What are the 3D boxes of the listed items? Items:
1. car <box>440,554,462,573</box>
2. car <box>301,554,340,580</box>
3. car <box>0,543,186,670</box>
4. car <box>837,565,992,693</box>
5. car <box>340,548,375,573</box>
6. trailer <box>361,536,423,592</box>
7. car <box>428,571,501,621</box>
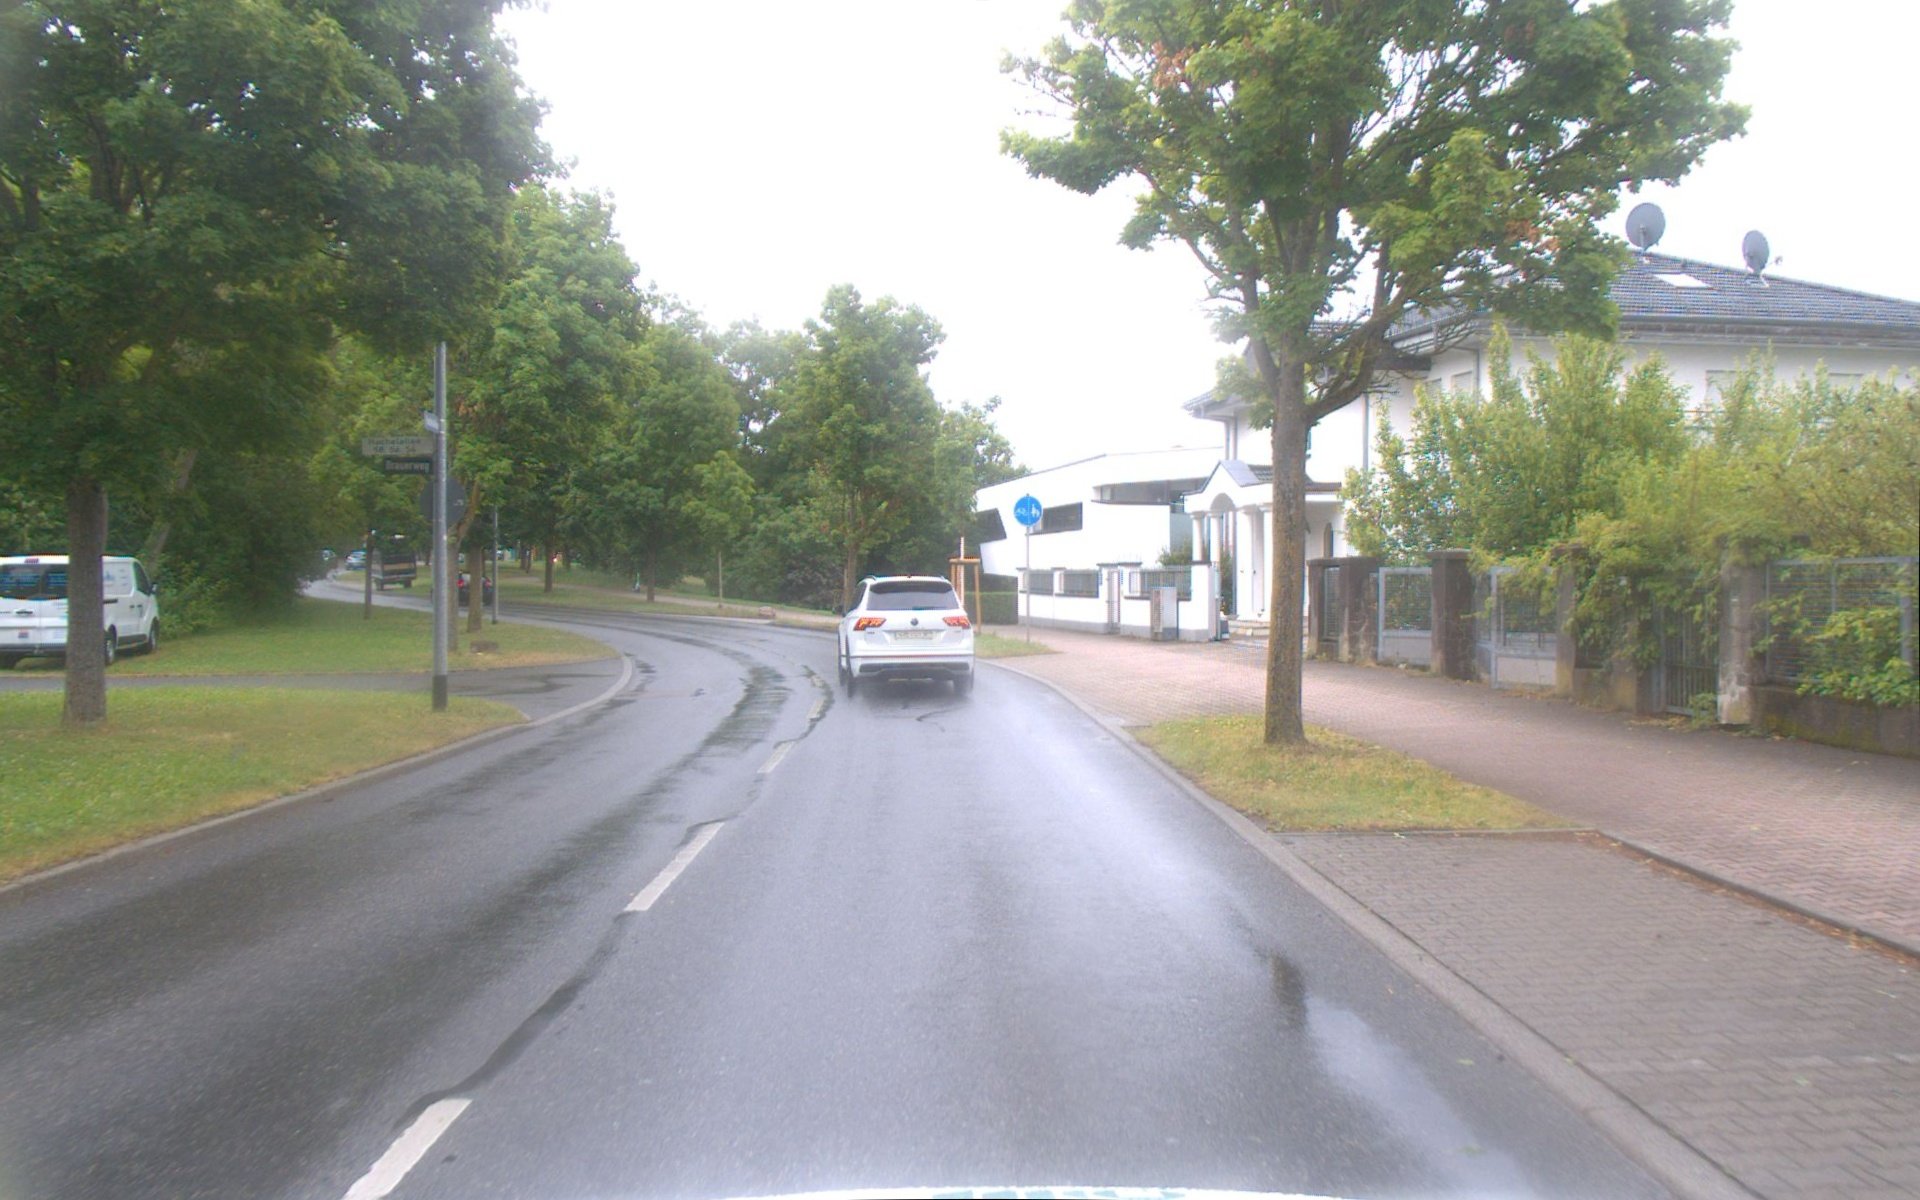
[{"bbox_3d":[-53.026,-3.821,172.394,1.960,1.839,3.986,2,0,-14],"label":"car"},{"bbox_3d":[-43.407,-2.238,112.233,1.771,1.564,4.051,3,1,-30],"label":"car"},{"bbox_3d":[-16.512,0.025,31.311,2.090,2.020,5.460,-1,4,-12],"label":"car"},{"bbox_3d":[-0.759,0.370,24.406,1.936,1.681,4.171,-1,0,-6],"label":"car"},{"bbox_3d":[-48.728,-3.188,133.848,1.957,1.836,3.990,2,0,-10],"label":"car"},{"bbox_3d":[-31.532,-2.024,91.746,1.974,2.855,5.550,-6,5,-31],"label":"trailer"},{"bbox_3d":[-21.620,-0.194,72.141,1.885,2.049,3.896,2,0,-35],"label":"car"}]
